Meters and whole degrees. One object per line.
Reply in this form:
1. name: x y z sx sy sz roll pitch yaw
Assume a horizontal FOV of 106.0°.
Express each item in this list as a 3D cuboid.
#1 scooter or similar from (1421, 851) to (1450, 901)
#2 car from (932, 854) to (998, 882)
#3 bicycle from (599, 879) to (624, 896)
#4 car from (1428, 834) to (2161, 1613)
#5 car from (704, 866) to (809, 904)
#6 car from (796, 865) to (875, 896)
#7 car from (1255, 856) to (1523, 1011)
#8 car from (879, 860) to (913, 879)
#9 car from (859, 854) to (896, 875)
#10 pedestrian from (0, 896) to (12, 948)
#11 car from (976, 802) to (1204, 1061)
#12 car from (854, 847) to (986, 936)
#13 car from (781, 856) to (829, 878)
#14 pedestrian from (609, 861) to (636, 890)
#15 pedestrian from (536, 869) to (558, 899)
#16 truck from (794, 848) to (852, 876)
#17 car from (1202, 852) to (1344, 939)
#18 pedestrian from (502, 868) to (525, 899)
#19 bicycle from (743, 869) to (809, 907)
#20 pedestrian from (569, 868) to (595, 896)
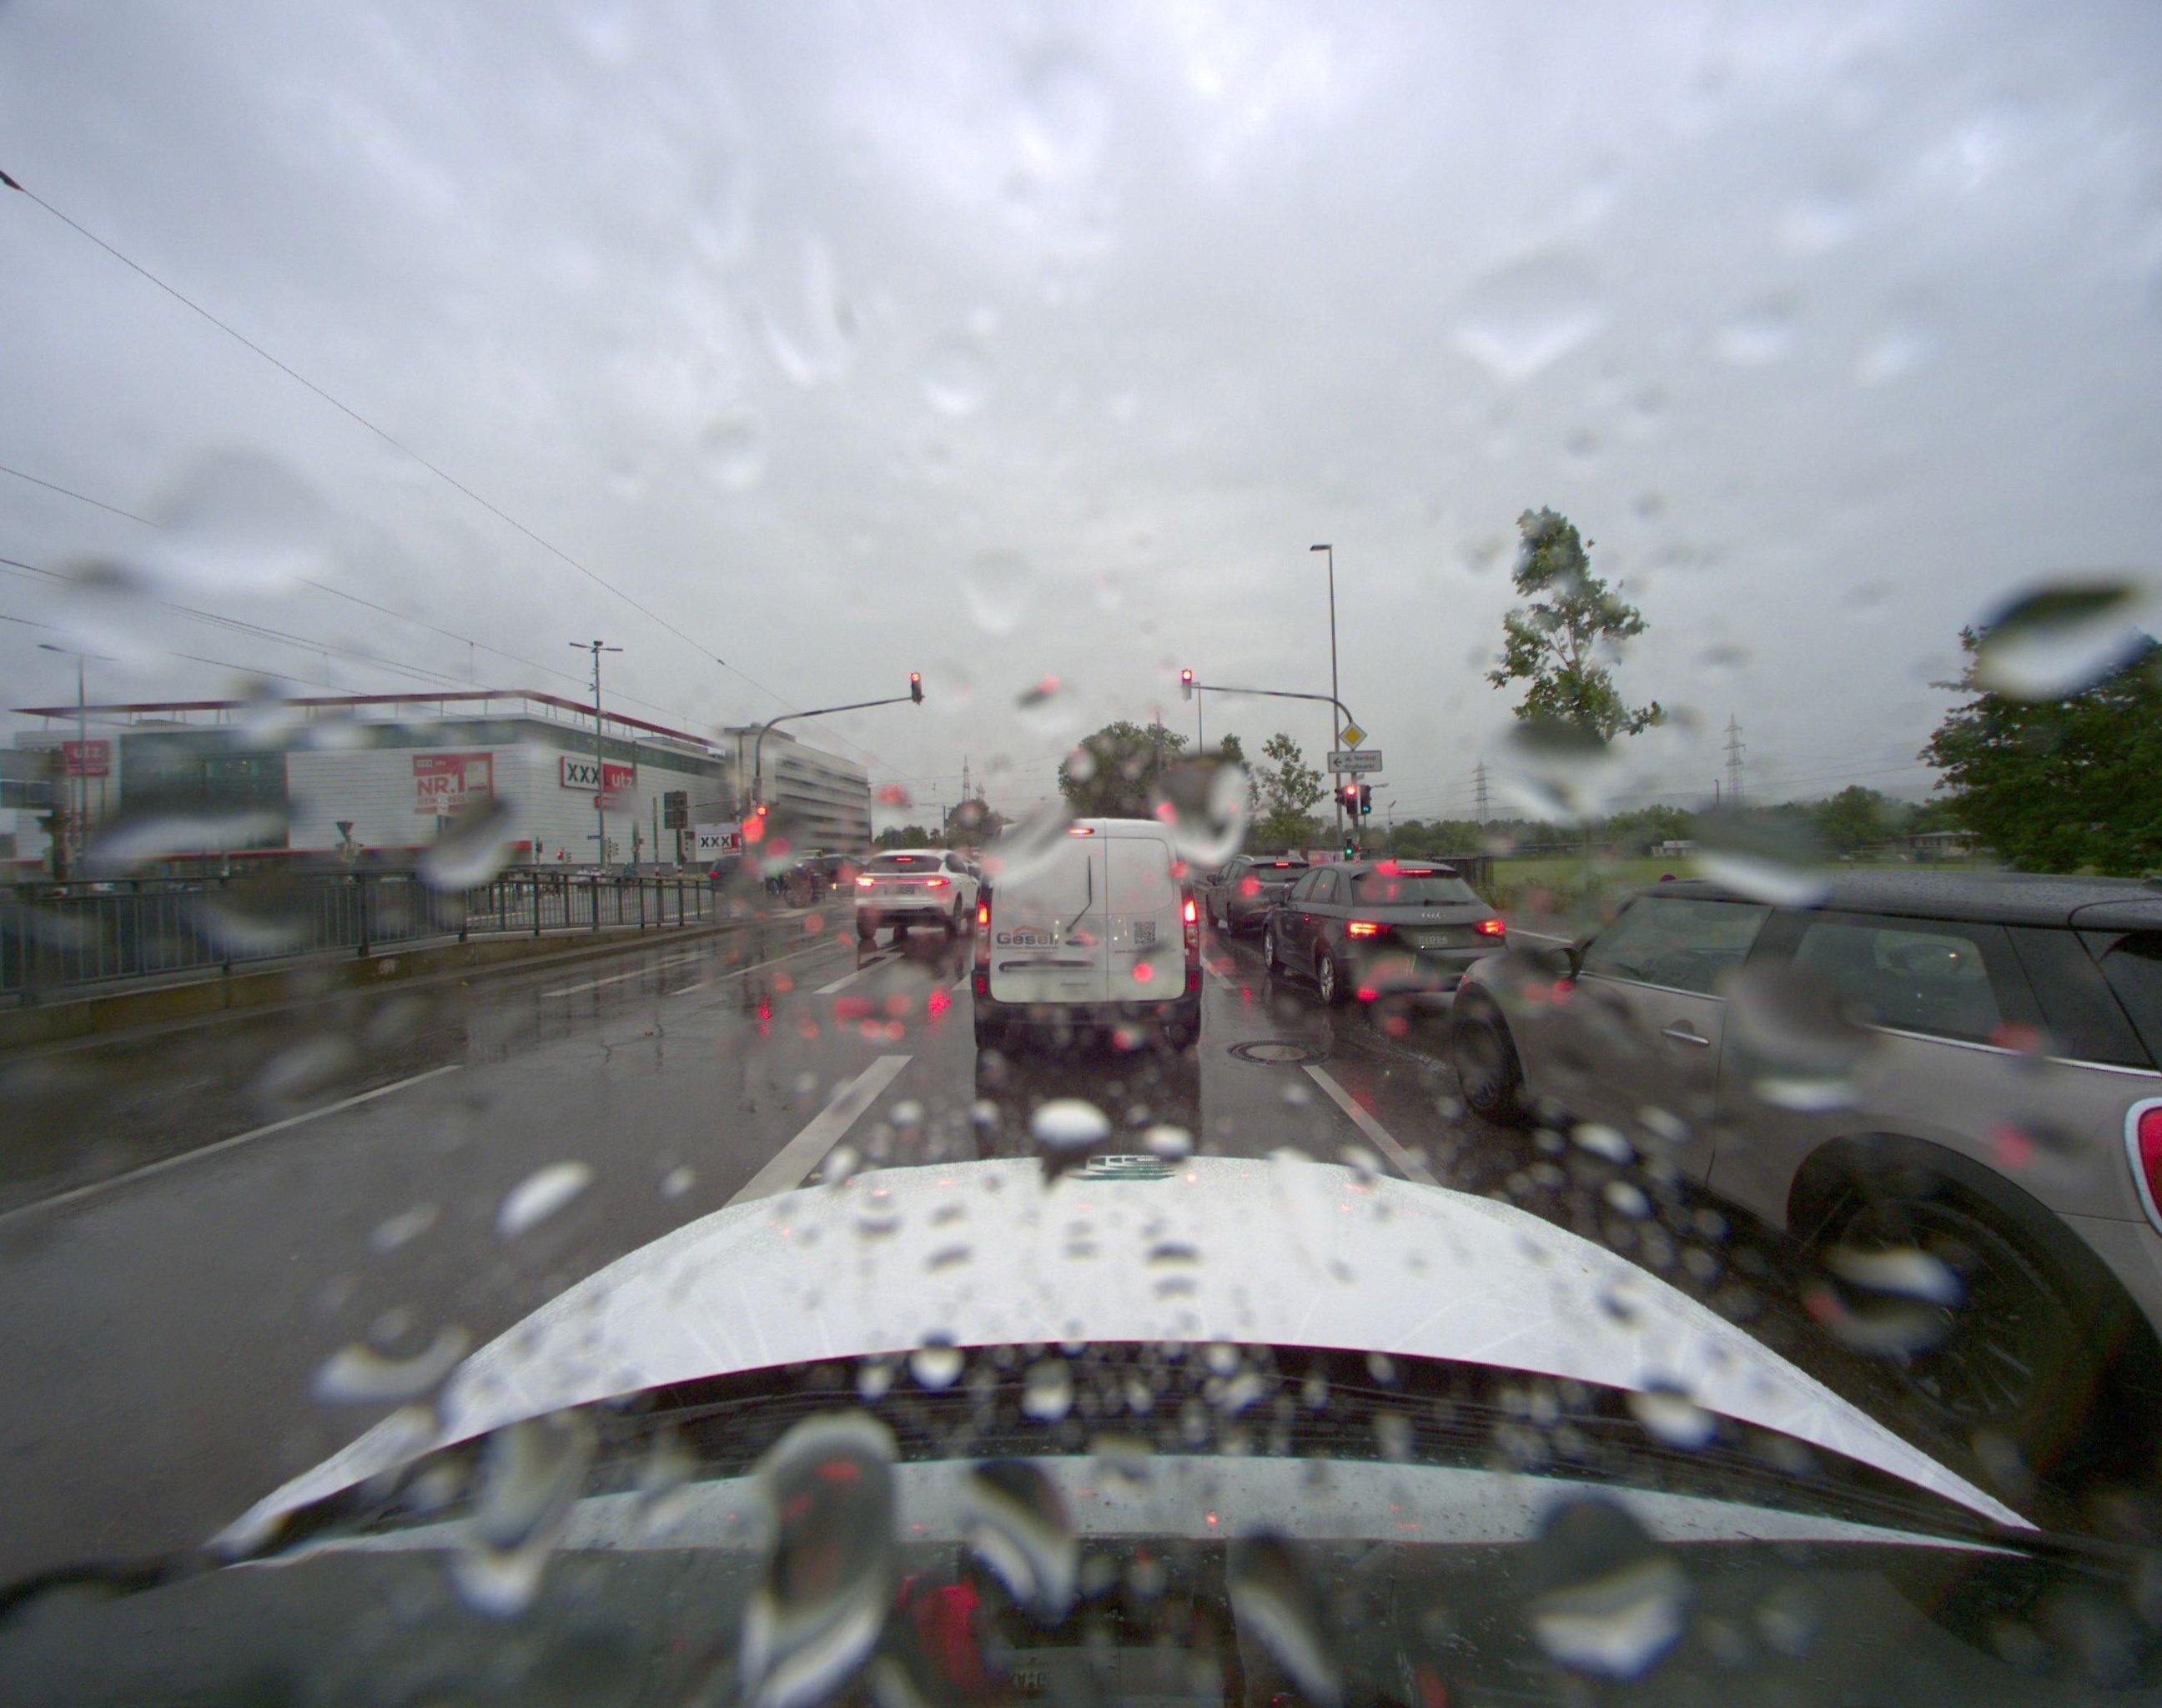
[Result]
1. scooter or similar: 8.454 0.507 19.445 0.244 1.158 1.187 0 -1 3
2. car: -6.646 0.791 46.950 1.598 1.503 3.739 -1 -1 35
3. bicycle: -28.563 2.039 49.595 0.448 0.987 1.709 0 -1 2
4. car: 2.965 0.708 3.197 1.707 1.508 3.624 0 0 1
5. car: -13.100 1.237 32.929 3.873 1.422 1.497 0 -1 -26
6. car: -11.911 1.253 39.553 3.375 1.422 1.450 0 -1 -42
7. car: 3.092 0.707 8.971 1.623 1.344 3.624 0 0 1
8. car: -17.661 1.453 78.022 1.919 1.827 4.007 0 -1 6
9. car: -17.781 0.906 71.204 1.883 1.699 4.006 0 -1 6
10. pedestrian: -32.388 2.038 24.003 0.561 1.537 0.872 0 -1 1
11. car: 0.125 0.550 7.681 1.560 1.788 4.002 -1 0 2
12. car: -3.051 0.639 16.331 1.723 1.535 4.298 0 0 1
13. car: -19.512 0.916 57.756 1.689 1.492 3.884 0 -1 7
14. pedestrian: -26.698 1.245 47.420 0.912 1.632 1.015 -1 -1 12
15. pedestrian: -29.821 1.679 45.509 0.701 1.632 0.918 0 -1 -10
16. truck: -22.398 0.668 71.230 2.342 2.279 7.637 0 0 2
17. car: 3.510 0.685 15.574 1.853 1.428 3.808 0 0 1
18. pedestrian: -31.454 1.626 45.156 0.701 1.632 0.918 0 -1 -10
19. bicycle: -8.904 0.987 23.802 1.745 1.034 0.414 2 -1 0
20. pedestrian: -29.913 1.687 48.815 1.013 1.632 1.092 -1 -1 40
